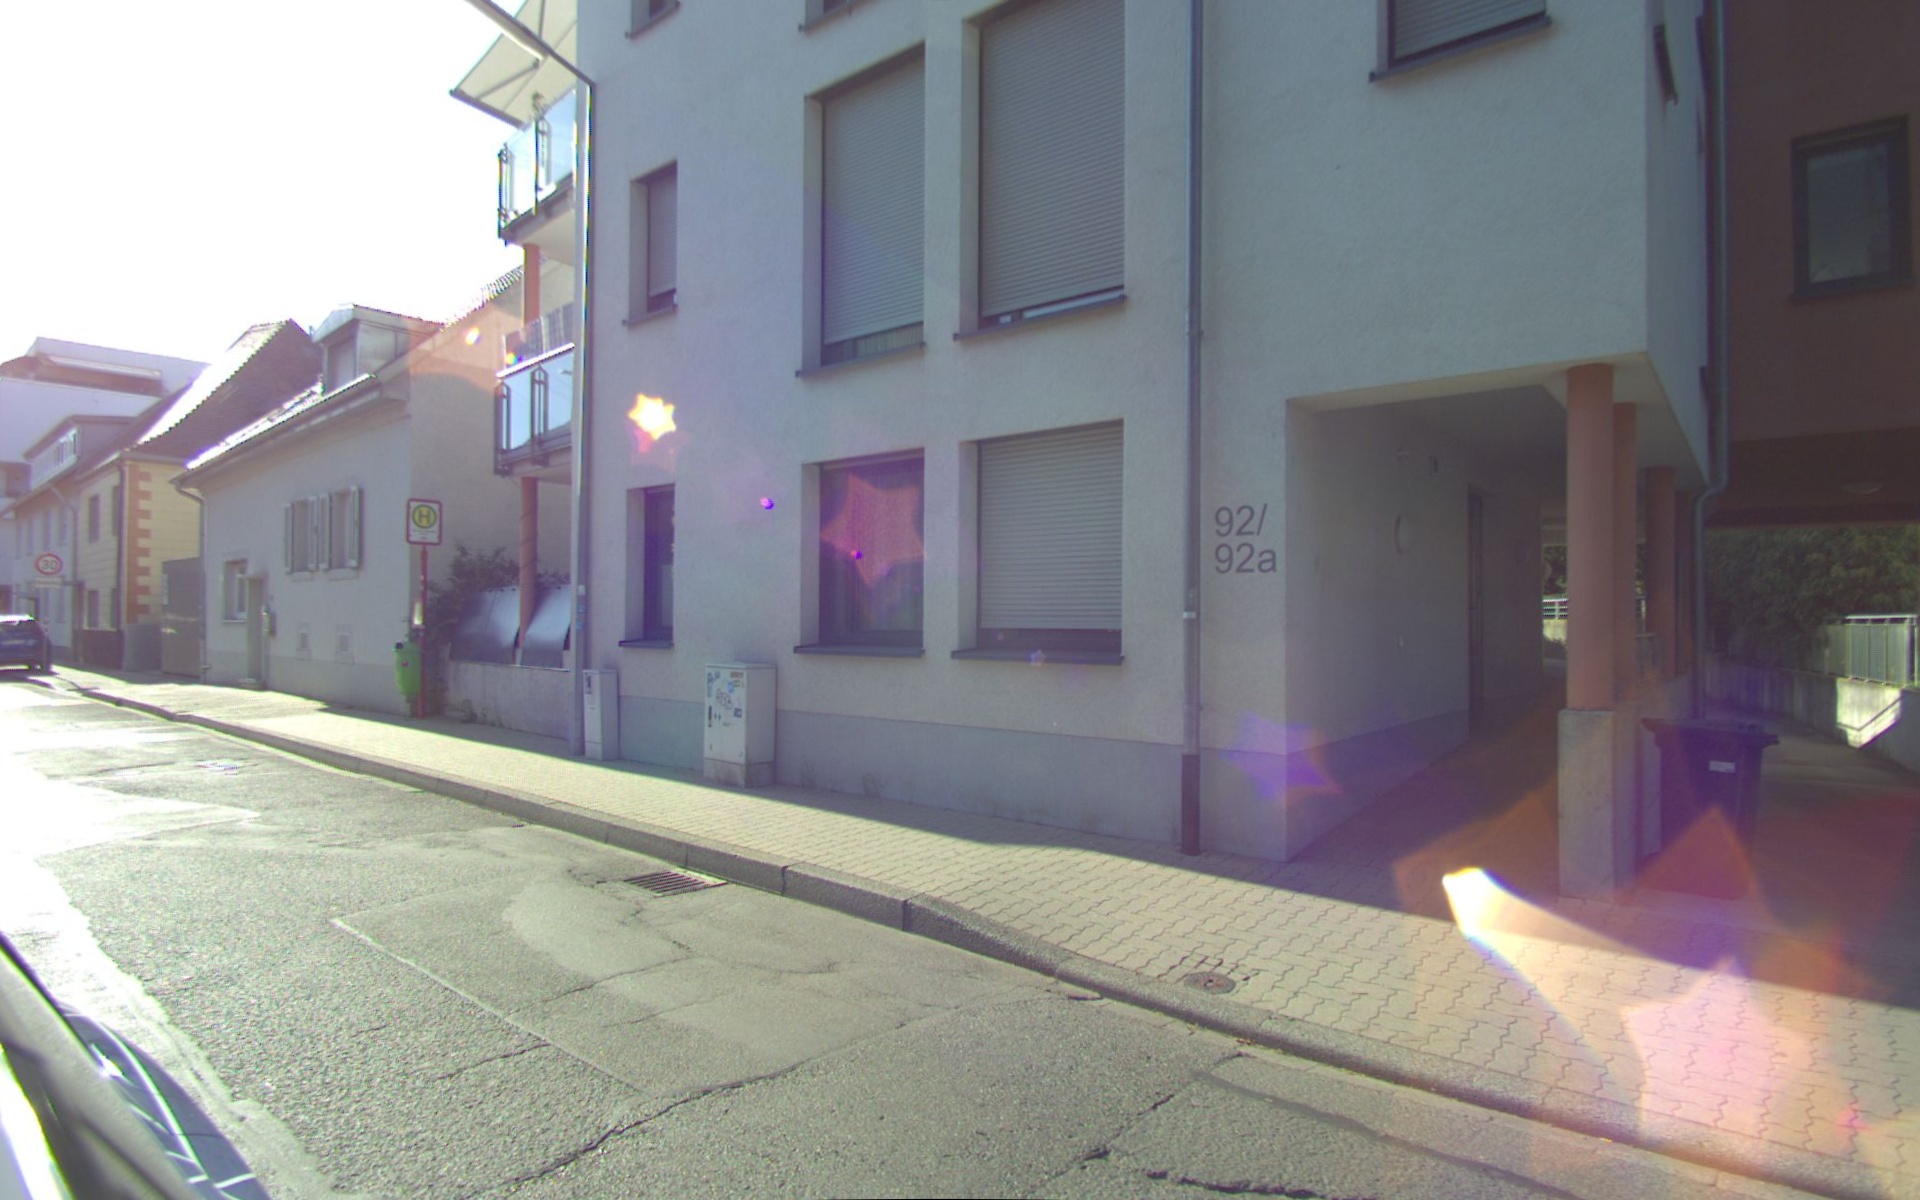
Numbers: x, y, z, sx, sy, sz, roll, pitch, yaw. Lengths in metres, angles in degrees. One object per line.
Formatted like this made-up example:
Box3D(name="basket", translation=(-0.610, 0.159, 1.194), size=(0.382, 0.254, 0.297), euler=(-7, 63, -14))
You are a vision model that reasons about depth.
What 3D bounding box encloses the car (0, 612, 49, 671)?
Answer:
Box3D(name="car", translation=(-27.747, 1.213, 29.040), size=(4.188, 1.599, 1.791), euler=(-3, -1, 39))
